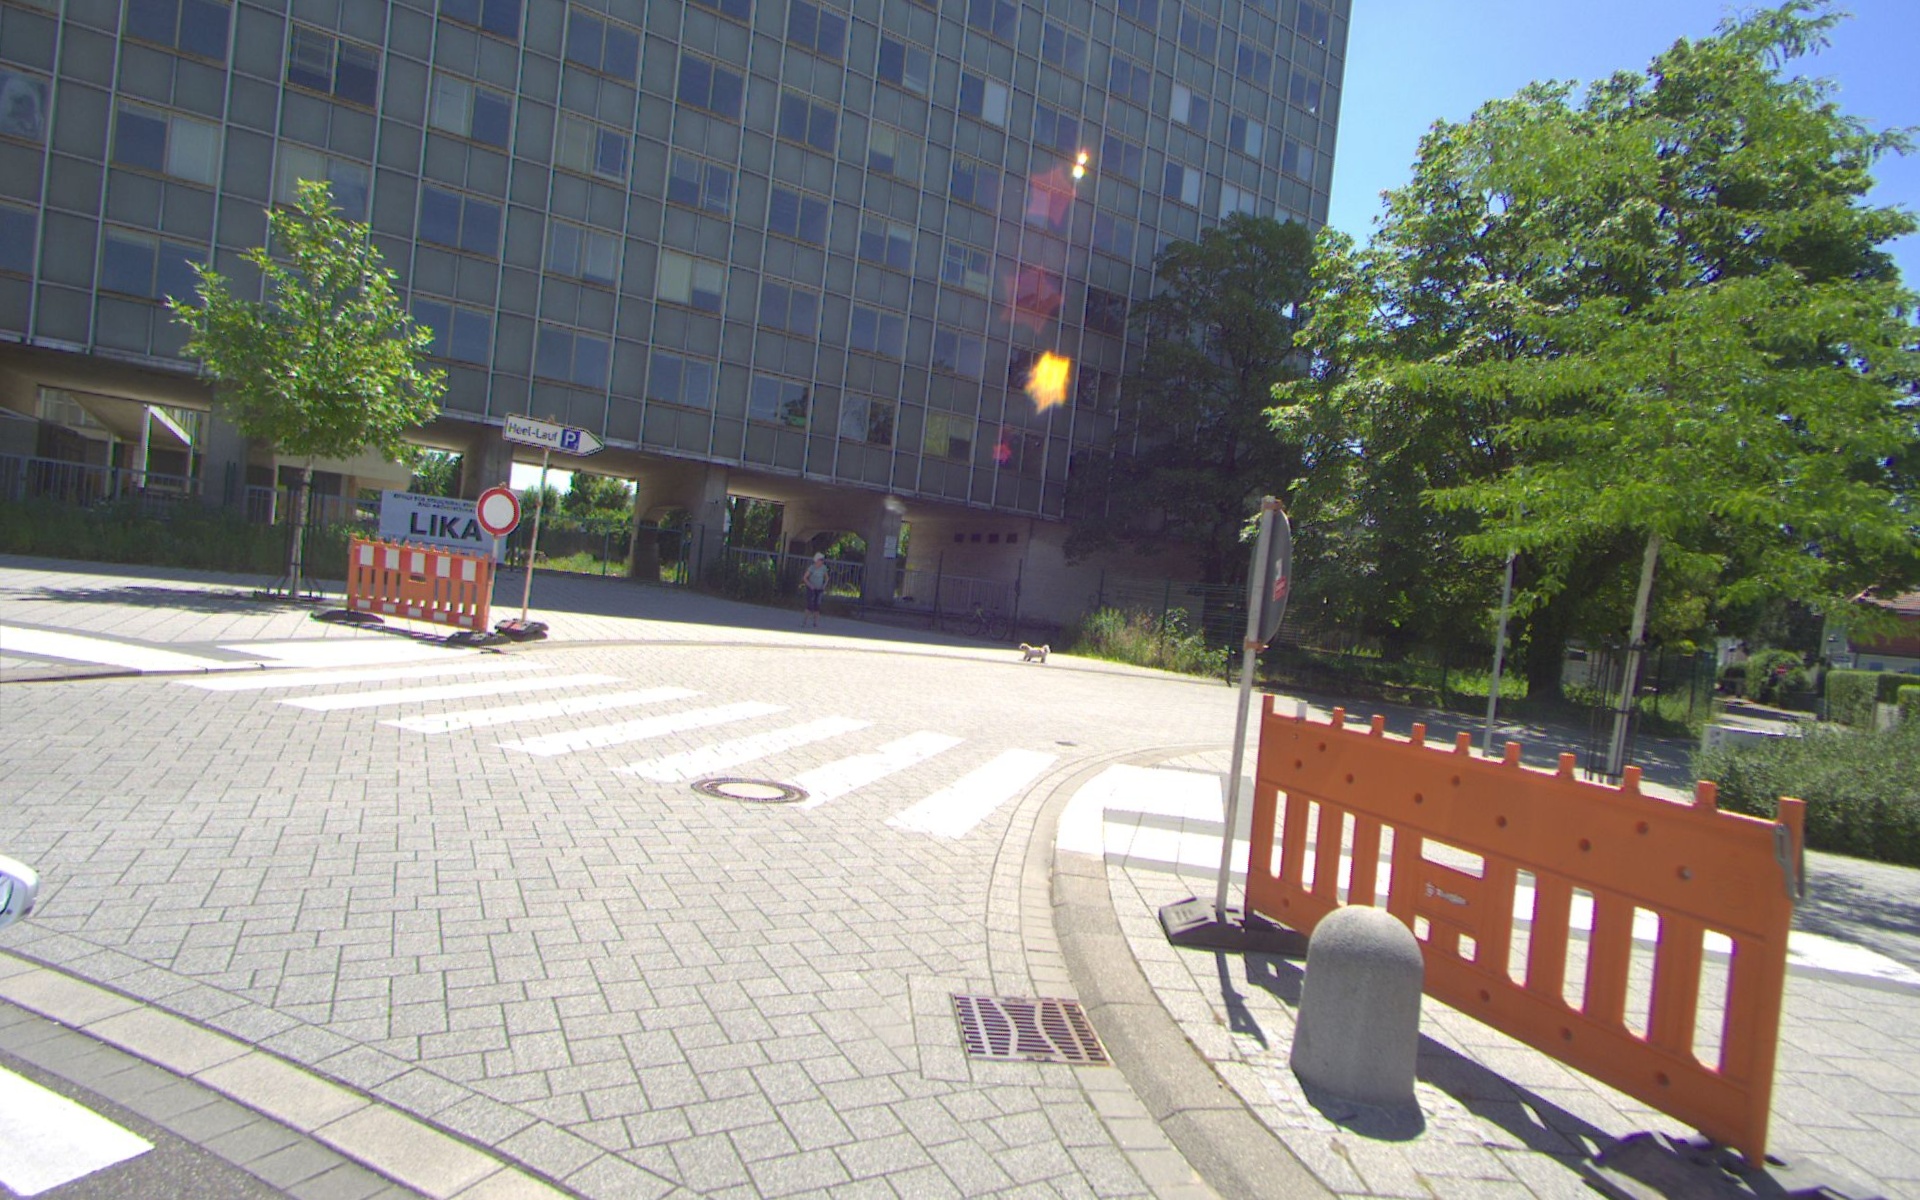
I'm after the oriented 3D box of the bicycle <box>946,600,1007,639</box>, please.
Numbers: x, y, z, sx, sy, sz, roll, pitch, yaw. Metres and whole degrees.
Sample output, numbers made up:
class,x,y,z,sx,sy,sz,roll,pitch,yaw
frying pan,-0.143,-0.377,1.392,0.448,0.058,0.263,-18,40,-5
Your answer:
class,x,y,z,sx,sy,sz,roll,pitch,yaw
bicycle,0.450,0.548,28.358,1.728,0.919,0.446,7,2,40

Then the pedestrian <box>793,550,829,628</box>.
class,x,y,z,sx,sy,sz,roll,pitch,yaw
pedestrian,-3.477,-0.259,23.483,0.559,1.731,0.483,5,4,-24
